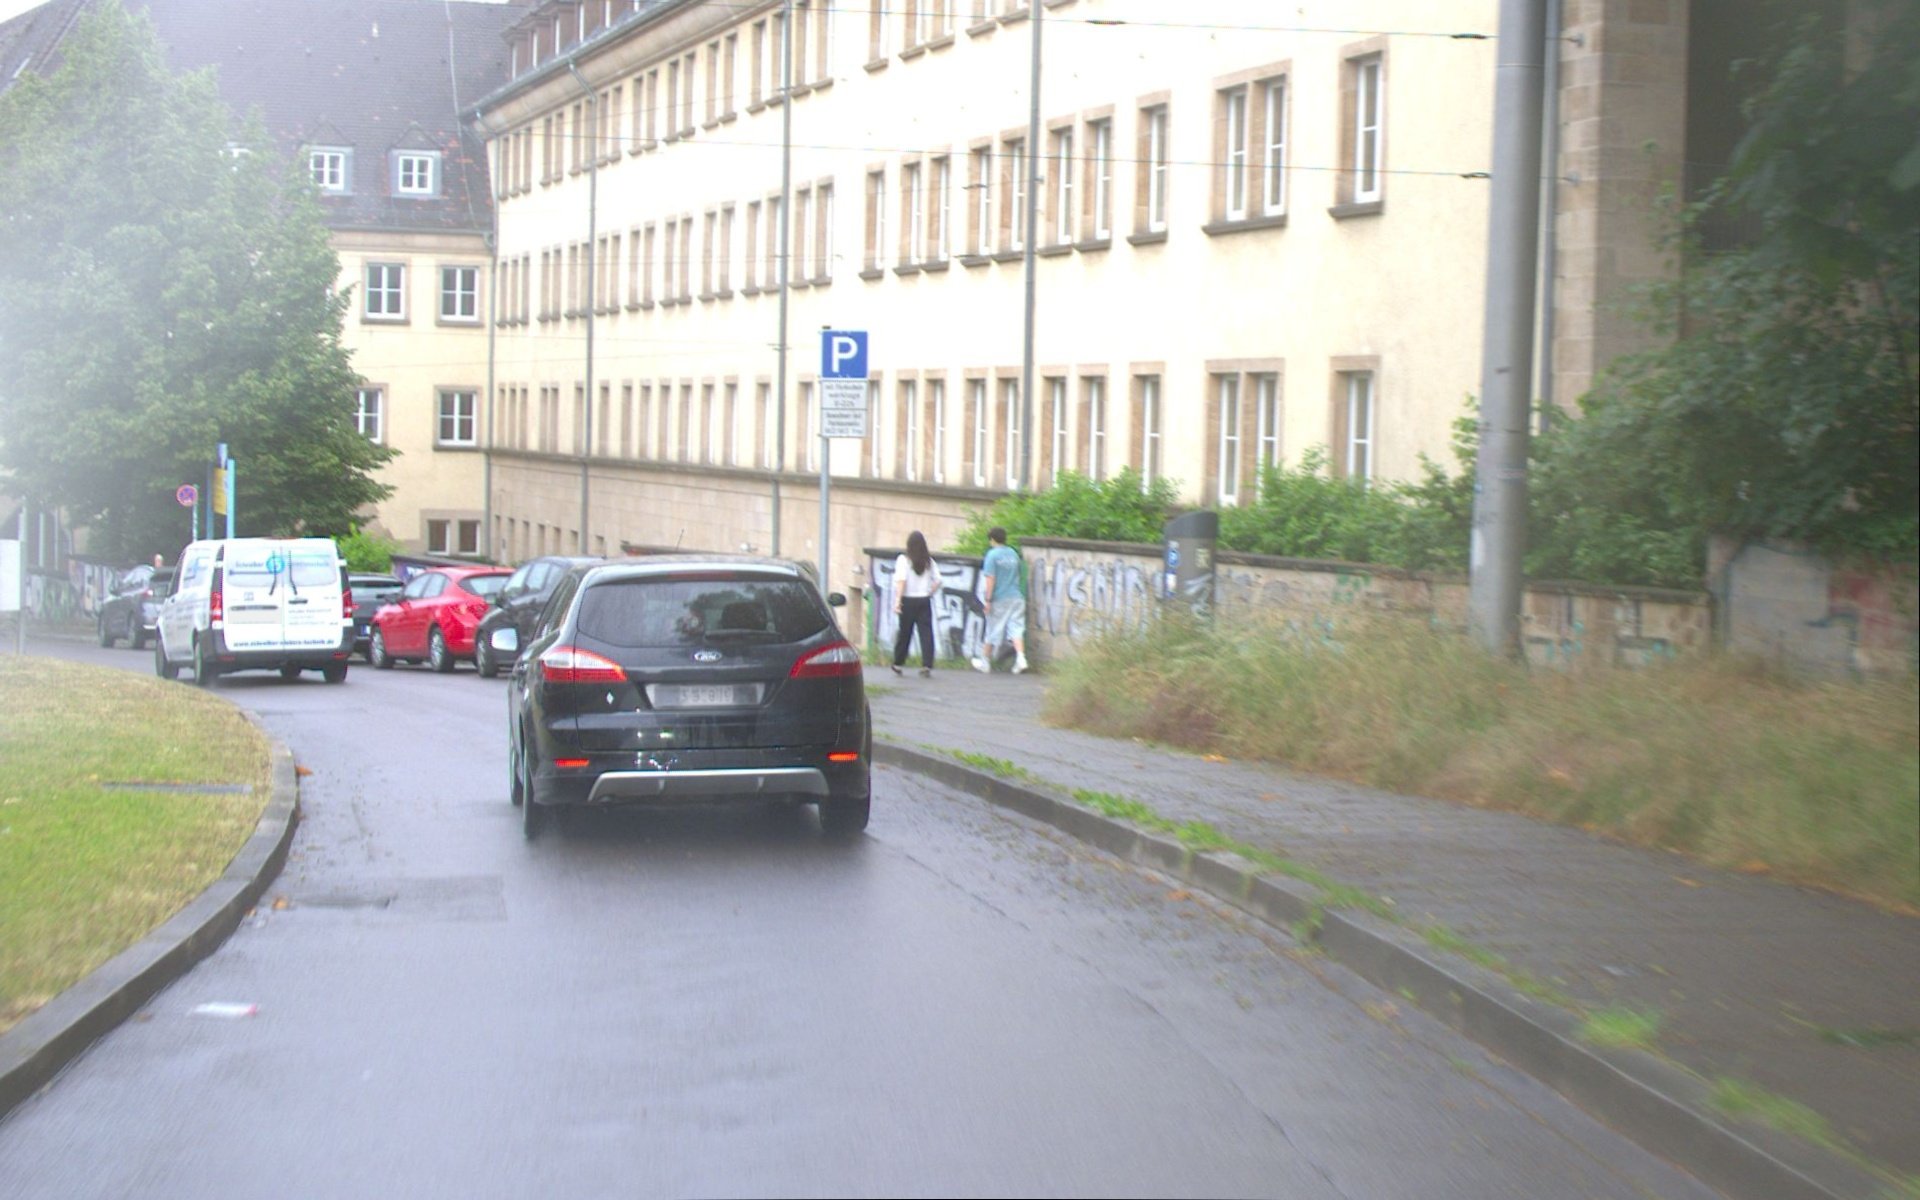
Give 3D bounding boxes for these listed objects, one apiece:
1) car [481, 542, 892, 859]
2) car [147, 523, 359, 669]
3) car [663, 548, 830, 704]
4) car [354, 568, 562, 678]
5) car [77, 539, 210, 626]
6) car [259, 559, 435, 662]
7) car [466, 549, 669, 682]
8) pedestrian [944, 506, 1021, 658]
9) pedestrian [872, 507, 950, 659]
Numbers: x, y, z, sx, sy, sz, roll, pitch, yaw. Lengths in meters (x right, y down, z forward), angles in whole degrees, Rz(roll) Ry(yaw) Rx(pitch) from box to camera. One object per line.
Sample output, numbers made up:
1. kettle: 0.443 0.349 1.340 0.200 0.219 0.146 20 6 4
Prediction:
1. car: -1.620 0.458 18.984 1.919 1.474 4.001 -1 2 -9
2. car: -9.238 -0.096 44.668 2.136 1.739 4.220 -1 2 -19
3. car: -2.208 0.230 35.107 1.597 1.460 2.721 -1 2 -5
4. car: -7.215 0.300 49.153 1.665 1.471 4.067 0 1 -28
5. car: -15.285 -0.358 64.256 1.665 1.519 4.110 -2 2 -24
6. car: -9.651 0.127 53.880 1.665 1.471 4.458 -2 2 -24
7. car: -5.083 0.154 44.117 1.665 1.567 3.857 -2 2 -21
8. pedestrian: 0.263 -0.219 40.427 0.717 1.748 0.739 -1 1 -15
9. pedestrian: -0.577 -0.206 40.096 0.717 1.748 0.739 -1 1 -15
